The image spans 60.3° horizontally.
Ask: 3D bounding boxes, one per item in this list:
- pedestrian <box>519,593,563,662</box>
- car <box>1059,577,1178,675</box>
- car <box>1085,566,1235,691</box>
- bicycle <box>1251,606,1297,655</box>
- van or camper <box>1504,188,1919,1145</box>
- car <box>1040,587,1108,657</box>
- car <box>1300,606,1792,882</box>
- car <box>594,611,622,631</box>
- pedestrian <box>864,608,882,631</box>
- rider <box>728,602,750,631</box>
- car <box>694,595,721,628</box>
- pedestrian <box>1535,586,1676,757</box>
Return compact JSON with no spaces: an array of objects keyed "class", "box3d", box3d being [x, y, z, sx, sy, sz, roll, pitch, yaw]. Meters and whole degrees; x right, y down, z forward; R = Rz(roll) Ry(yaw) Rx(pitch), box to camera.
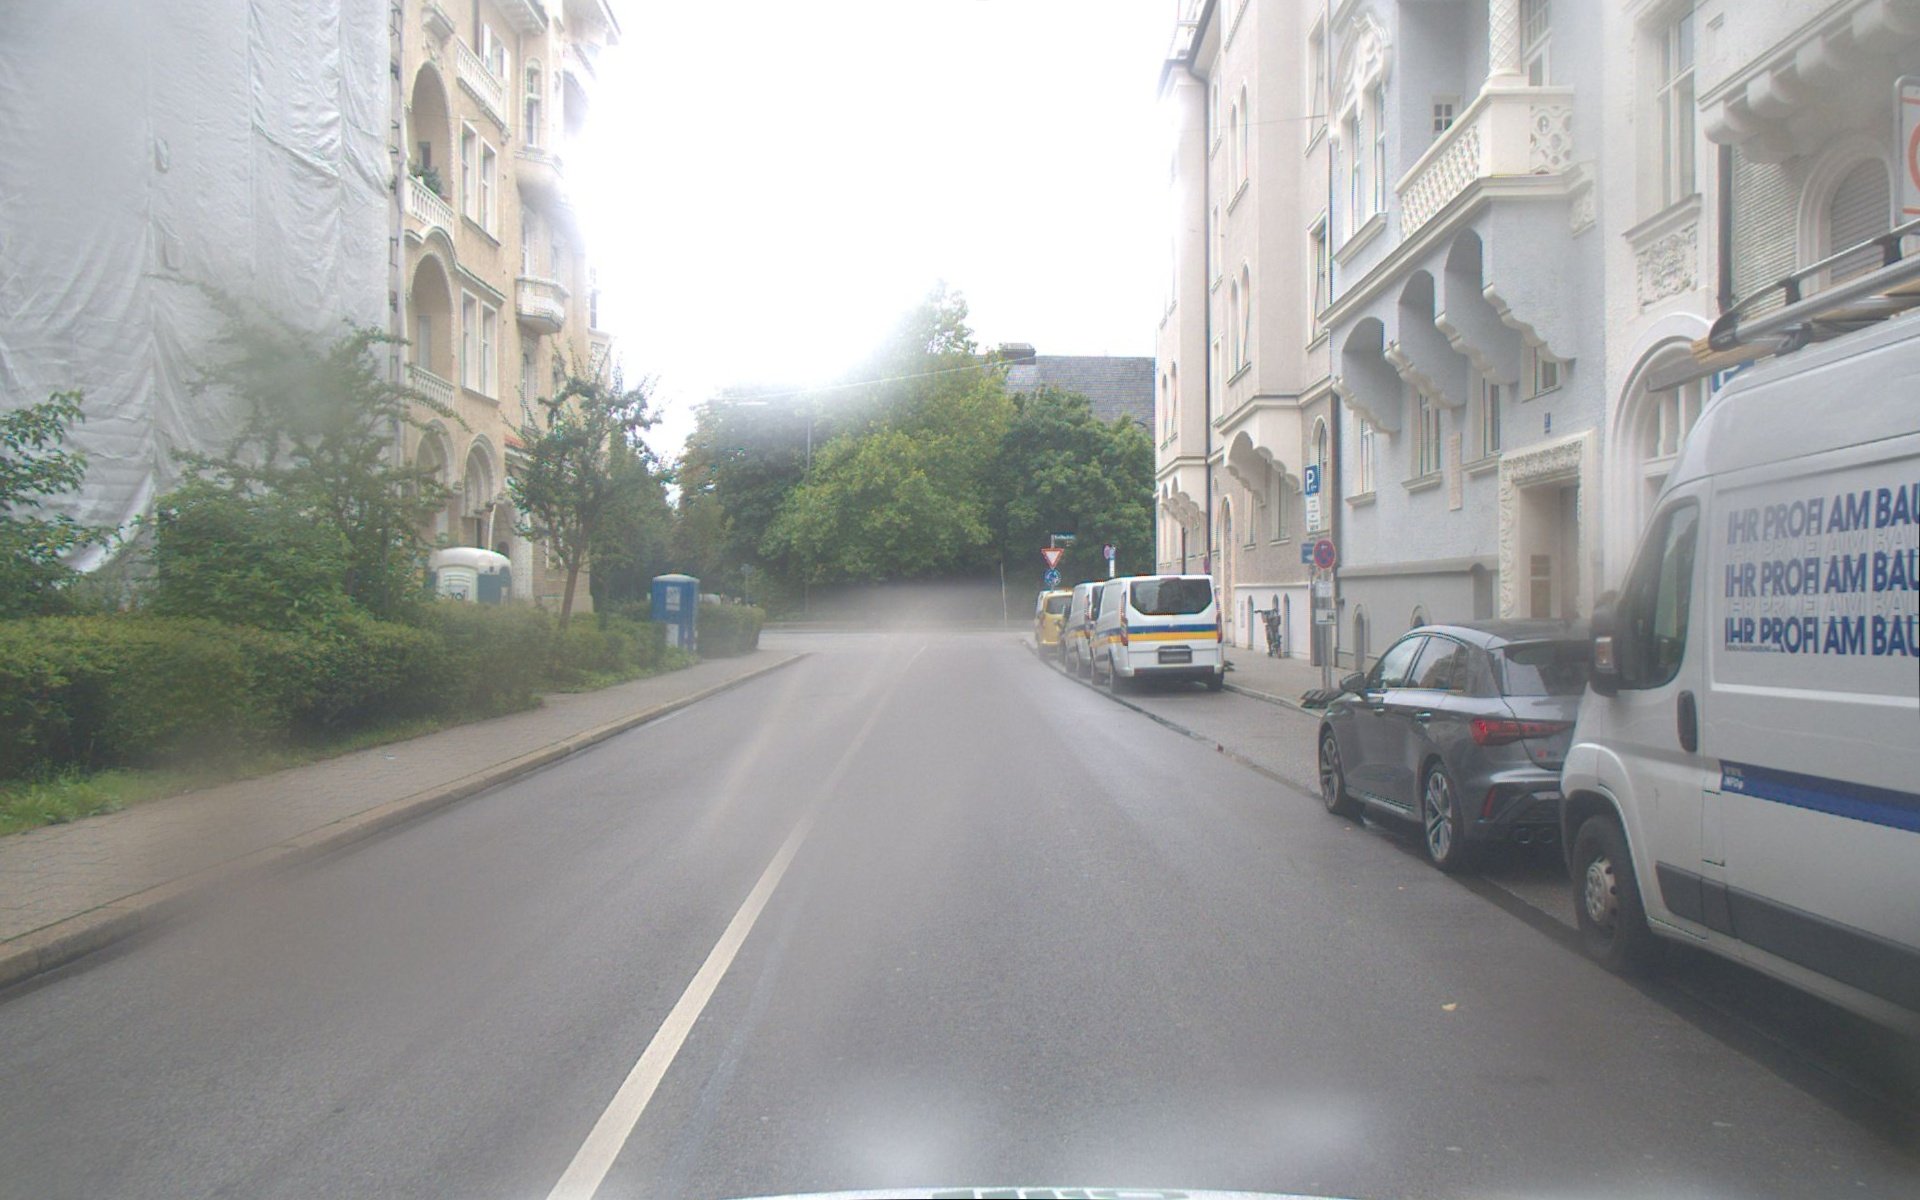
[{"class":"pedestrian","box3d":[-11.027,0.725,43.589,0.895,1.782,0.948,-1,0,-1]},{"class":"car","box3d":[3.383,0.526,36.206,1.920,1.971,4.991,-1,0,-2]},{"class":"car","box3d":[3.521,0.480,30.010,1.920,2.049,4.991,-1,0,-2]},{"class":"bicycle","box3d":[7.560,0.718,39.880,0.680,1.113,2.037,-3,0,1]},{"class":"van or camper","box3d":[3.643,0.186,5.354,1.914,2.683,5.458,-1,0,0]},{"class":"car","box3d":[3.220,0.593,47.393,1.812,1.885,4.822,-1,0,3]},{"class":"car","box3d":[3.604,0.786,11.018,1.718,1.459,4.086,-1,0,-2]},{"class":"car","box3d":[-29.534,1.775,138.960,1.859,1.599,4.069,-1,0,-6]},{"class":"pedestrian","box3d":[-4.646,1.041,88.401,0.794,1.210,0.920,-1,0,6]},{"class":"rider","box3d":[-13.735,1.030,102.820,1.059,1.696,1.140,-3,0,7]},{"class":"car","box3d":[-20.398,0.935,133.434,2.004,2.603,5.235,-1,0,-10]},{"class":"pedestrian","box3d":[6.326,0.695,16.264,0.902,1.582,1.016,-3,-2,-1]}]
